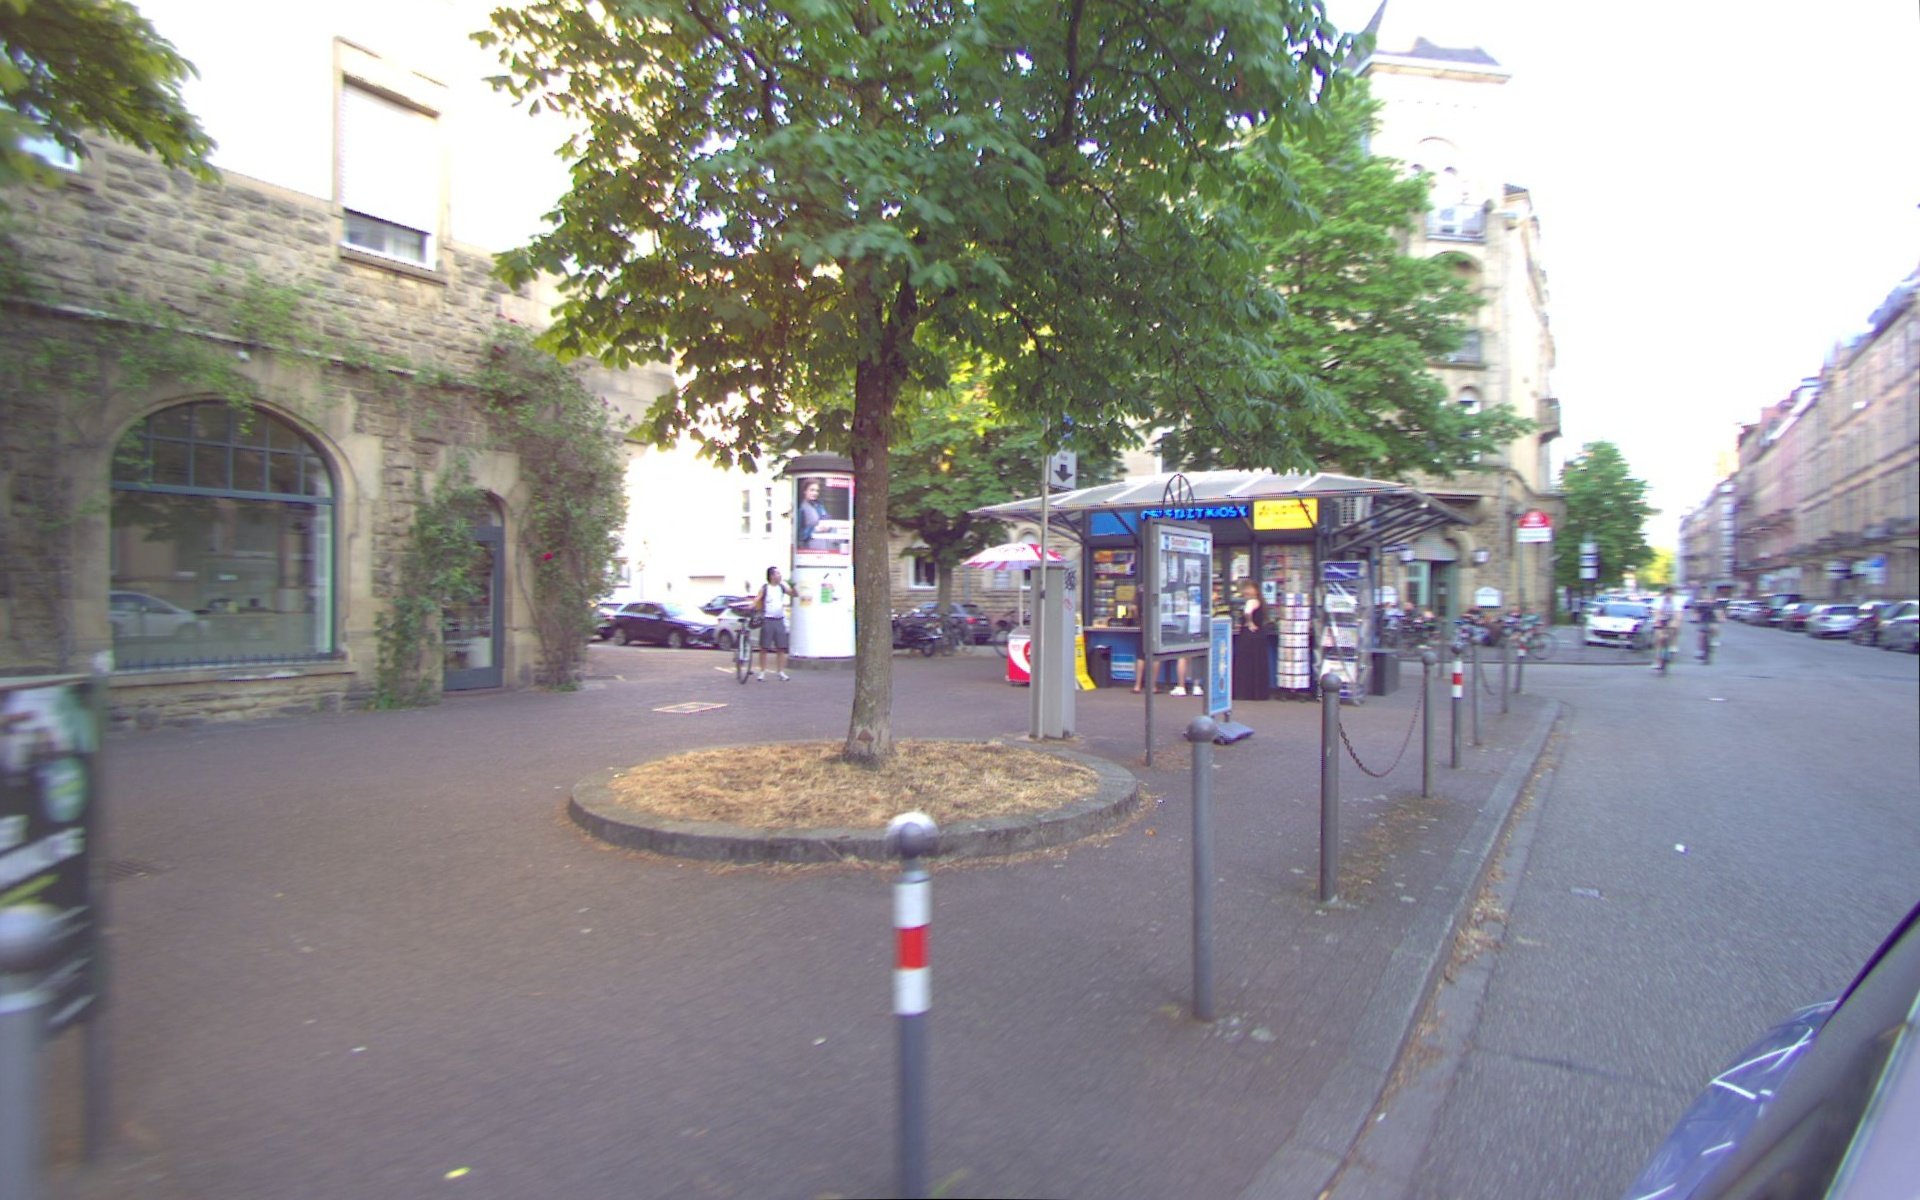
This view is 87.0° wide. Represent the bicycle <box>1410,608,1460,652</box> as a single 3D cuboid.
[{"bbox_3d":[12.082,0.745,25.713,1.804,1.080,0.512,0,0,-43],"label":"bicycle"}]

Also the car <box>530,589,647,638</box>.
[{"bbox_3d":[-12.220,0.443,33.236,3.884,1.502,1.802,-1,-1,37],"label":"car"}]

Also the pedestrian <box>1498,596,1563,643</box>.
[{"bbox_3d":[16.536,0.559,29.352,1.390,1.302,0.843,1,1,-8],"label":"pedestrian"}]

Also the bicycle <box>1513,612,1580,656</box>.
[{"bbox_3d":[14.325,0.832,24.735,1.446,1.052,0.433,0,0,-6],"label":"bicycle"}]

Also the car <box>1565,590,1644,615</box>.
[{"bbox_3d":[41.969,0.160,65.952,4.275,1.548,1.801,0,0,34],"label":"car"}]

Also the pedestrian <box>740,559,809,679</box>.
[{"bbox_3d":[-2.940,0.278,15.965,0.960,1.811,1.008,0,1,-16],"label":"pedestrian"}]

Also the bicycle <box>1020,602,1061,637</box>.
[{"bbox_3d":[2.590,0.611,32.572,0.586,1.091,1.814,0,0,31],"label":"bicycle"}]

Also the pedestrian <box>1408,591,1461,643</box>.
[{"bbox_3d":[13.584,0.470,28.968,1.081,1.414,0.843,-1,1,-15],"label":"pedestrian"}]

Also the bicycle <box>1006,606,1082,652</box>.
[{"bbox_3d":[1.949,0.656,23.621,1.728,1.008,0.572,1,1,36],"label":"bicycle"}]

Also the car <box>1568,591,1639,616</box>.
[{"bbox_3d":[46.041,0.220,72.426,4.275,1.697,1.801,0,0,34],"label":"car"}]

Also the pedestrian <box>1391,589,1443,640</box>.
[{"bbox_3d":[13.389,0.409,29.673,1.081,1.414,0.843,-1,1,-15],"label":"pedestrian"}]

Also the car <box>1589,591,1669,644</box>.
[{"bbox_3d":[21.816,0.535,32.940,1.761,1.503,4.401,4,2,38],"label":"car"}]

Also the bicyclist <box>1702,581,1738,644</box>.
[{"bbox_3d":[18.743,0.298,24.971,0.682,1.531,0.960,0,0,36],"label":"bicyclist"}]

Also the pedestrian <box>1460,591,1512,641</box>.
[{"bbox_3d":[15.508,0.461,29.848,0.878,1.414,1.013,2,0,-8],"label":"pedestrian"}]

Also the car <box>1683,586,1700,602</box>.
[{"bbox_3d":[111.493,-0.859,154.311,1.746,2.307,4.006,-6,-4,35],"label":"car"}]

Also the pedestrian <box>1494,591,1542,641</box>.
[{"bbox_3d":[16.589,0.472,30.093,1.083,1.414,0.841,2,1,-37],"label":"pedestrian"}]

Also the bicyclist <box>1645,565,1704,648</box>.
[{"bbox_3d":[13.666,0.114,19.360,0.955,1.531,0.686,0,0,-38],"label":"bicyclist"}]

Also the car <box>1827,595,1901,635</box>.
[{"bbox_3d":[38.587,0.609,43.295,1.747,1.494,4.006,-6,-3,35],"label":"car"}]

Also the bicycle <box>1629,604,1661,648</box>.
[{"bbox_3d":[19.533,0.706,28.846,0.682,1.165,2.088,4,2,35],"label":"bicycle"}]

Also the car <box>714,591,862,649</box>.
[{"bbox_3d":[-4.783,0.544,28.008,3.880,1.502,1.804,-1,-1,35],"label":"car"}]

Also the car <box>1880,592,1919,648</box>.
[{"bbox_3d":[29.710,0.563,30.641,1.824,1.613,4.620,-2,-1,31],"label":"car"}]

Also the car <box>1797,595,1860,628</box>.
[{"bbox_3d":[43.524,0.559,50.778,1.746,1.494,4.228,-6,-3,33],"label":"car"}]

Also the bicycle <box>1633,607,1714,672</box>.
[{"bbox_3d":[13.645,0.722,19.340,2.076,1.166,0.686,0,0,-38],"label":"bicycle"}]

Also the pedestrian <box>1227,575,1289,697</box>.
[{"bbox_3d":[3.898,0.452,13.280,0.666,1.558,0.590,0,0,4],"label":"pedestrian"}]

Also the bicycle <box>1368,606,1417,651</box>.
[{"bbox_3d":[11.268,0.716,26.342,1.804,1.126,0.502,0,0,-43],"label":"bicycle"}]

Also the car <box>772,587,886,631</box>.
[{"bbox_3d":[-4.809,0.341,37.045,3.876,1.502,1.806,-1,-1,32],"label":"car"}]

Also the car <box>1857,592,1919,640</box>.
[{"bbox_3d":[33.212,0.542,35.702,1.746,1.613,4.008,-2,-1,34],"label":"car"}]

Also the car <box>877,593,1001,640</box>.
[{"bbox_3d":[-0.721,0.564,34.249,3.878,1.502,1.805,-1,-1,33],"label":"car"}]

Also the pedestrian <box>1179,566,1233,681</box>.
[{"bbox_3d":[3.652,0.333,15.006,0.671,1.658,0.585,0,0,26],"label":"pedestrian"}]

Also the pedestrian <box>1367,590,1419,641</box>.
[{"bbox_3d":[12.593,0.435,29.444,1.081,1.414,0.843,-1,1,-14],"label":"pedestrian"}]

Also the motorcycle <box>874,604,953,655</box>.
[{"bbox_3d":[-1.055,0.647,22.718,1.821,1.067,0.572,1,1,36],"label":"motorcycle"}]

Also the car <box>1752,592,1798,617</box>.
[{"bbox_3d":[55.659,0.304,69.188,1.744,1.494,4.012,-6,-3,31],"label":"car"}]

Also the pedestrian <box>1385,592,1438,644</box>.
[{"bbox_3d":[12.788,0.490,28.692,1.081,1.414,0.843,-1,1,-14],"label":"pedestrian"}]

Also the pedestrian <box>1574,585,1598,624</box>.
[{"bbox_3d":[29.231,0.199,47.235,0.848,1.789,0.822,1,1,38],"label":"pedestrian"}]

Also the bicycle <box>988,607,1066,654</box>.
[{"bbox_3d":[1.510,0.672,23.011,1.728,1.008,0.572,1,1,36],"label":"bicycle"}]

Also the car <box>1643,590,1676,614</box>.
[{"bbox_3d":[53.918,0.160,78.085,1.944,1.761,4.233,-2,-1,34],"label":"car"}]

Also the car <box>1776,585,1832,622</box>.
[{"bbox_3d":[48.810,0.222,58.606,1.861,1.986,4.242,-3,-2,32],"label":"car"}]

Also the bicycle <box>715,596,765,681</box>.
[{"bbox_3d":[-3.455,0.555,15.797,0.622,1.202,1.918,0,1,-17],"label":"bicycle"}]

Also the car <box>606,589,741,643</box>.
[{"bbox_3d":[-8.625,0.474,30.379,3.976,1.502,1.804,-1,-1,35],"label":"car"}]

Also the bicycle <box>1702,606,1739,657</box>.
[{"bbox_3d":[18.685,0.748,24.897,0.682,1.166,2.087,0,0,36],"label":"bicycle"}]

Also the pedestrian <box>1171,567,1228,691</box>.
[{"bbox_3d":[3.255,0.383,13.812,0.666,1.658,0.590,0,0,4],"label":"pedestrian"}]

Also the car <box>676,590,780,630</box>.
[{"bbox_3d":[-9.174,0.407,39.984,3.876,1.502,1.806,-1,-1,32],"label":"car"}]

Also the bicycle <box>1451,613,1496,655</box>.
[{"bbox_3d":[12.768,0.823,25.145,1.677,0.992,0.447,0,0,-43],"label":"bicycle"}]

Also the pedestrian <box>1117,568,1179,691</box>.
[{"bbox_3d":[2.620,0.396,14.084,0.673,1.658,0.584,0,0,33],"label":"pedestrian"}]

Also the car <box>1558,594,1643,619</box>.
[{"bbox_3d":[38.491,0.369,60.911,4.275,1.470,1.801,0,0,34],"label":"car"}]

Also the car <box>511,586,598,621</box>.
[{"bbox_3d":[-18.545,0.171,46.226,3.878,1.502,1.805,-1,-1,33],"label":"car"}]

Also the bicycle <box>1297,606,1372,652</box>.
[{"bbox_3d":[9.781,0.739,26.461,1.812,1.166,0.554,0,0,21],"label":"bicycle"}]

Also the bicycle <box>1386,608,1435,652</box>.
[{"bbox_3d":[11.532,0.747,25.864,1.804,1.084,0.475,0,0,-43],"label":"bicycle"}]
